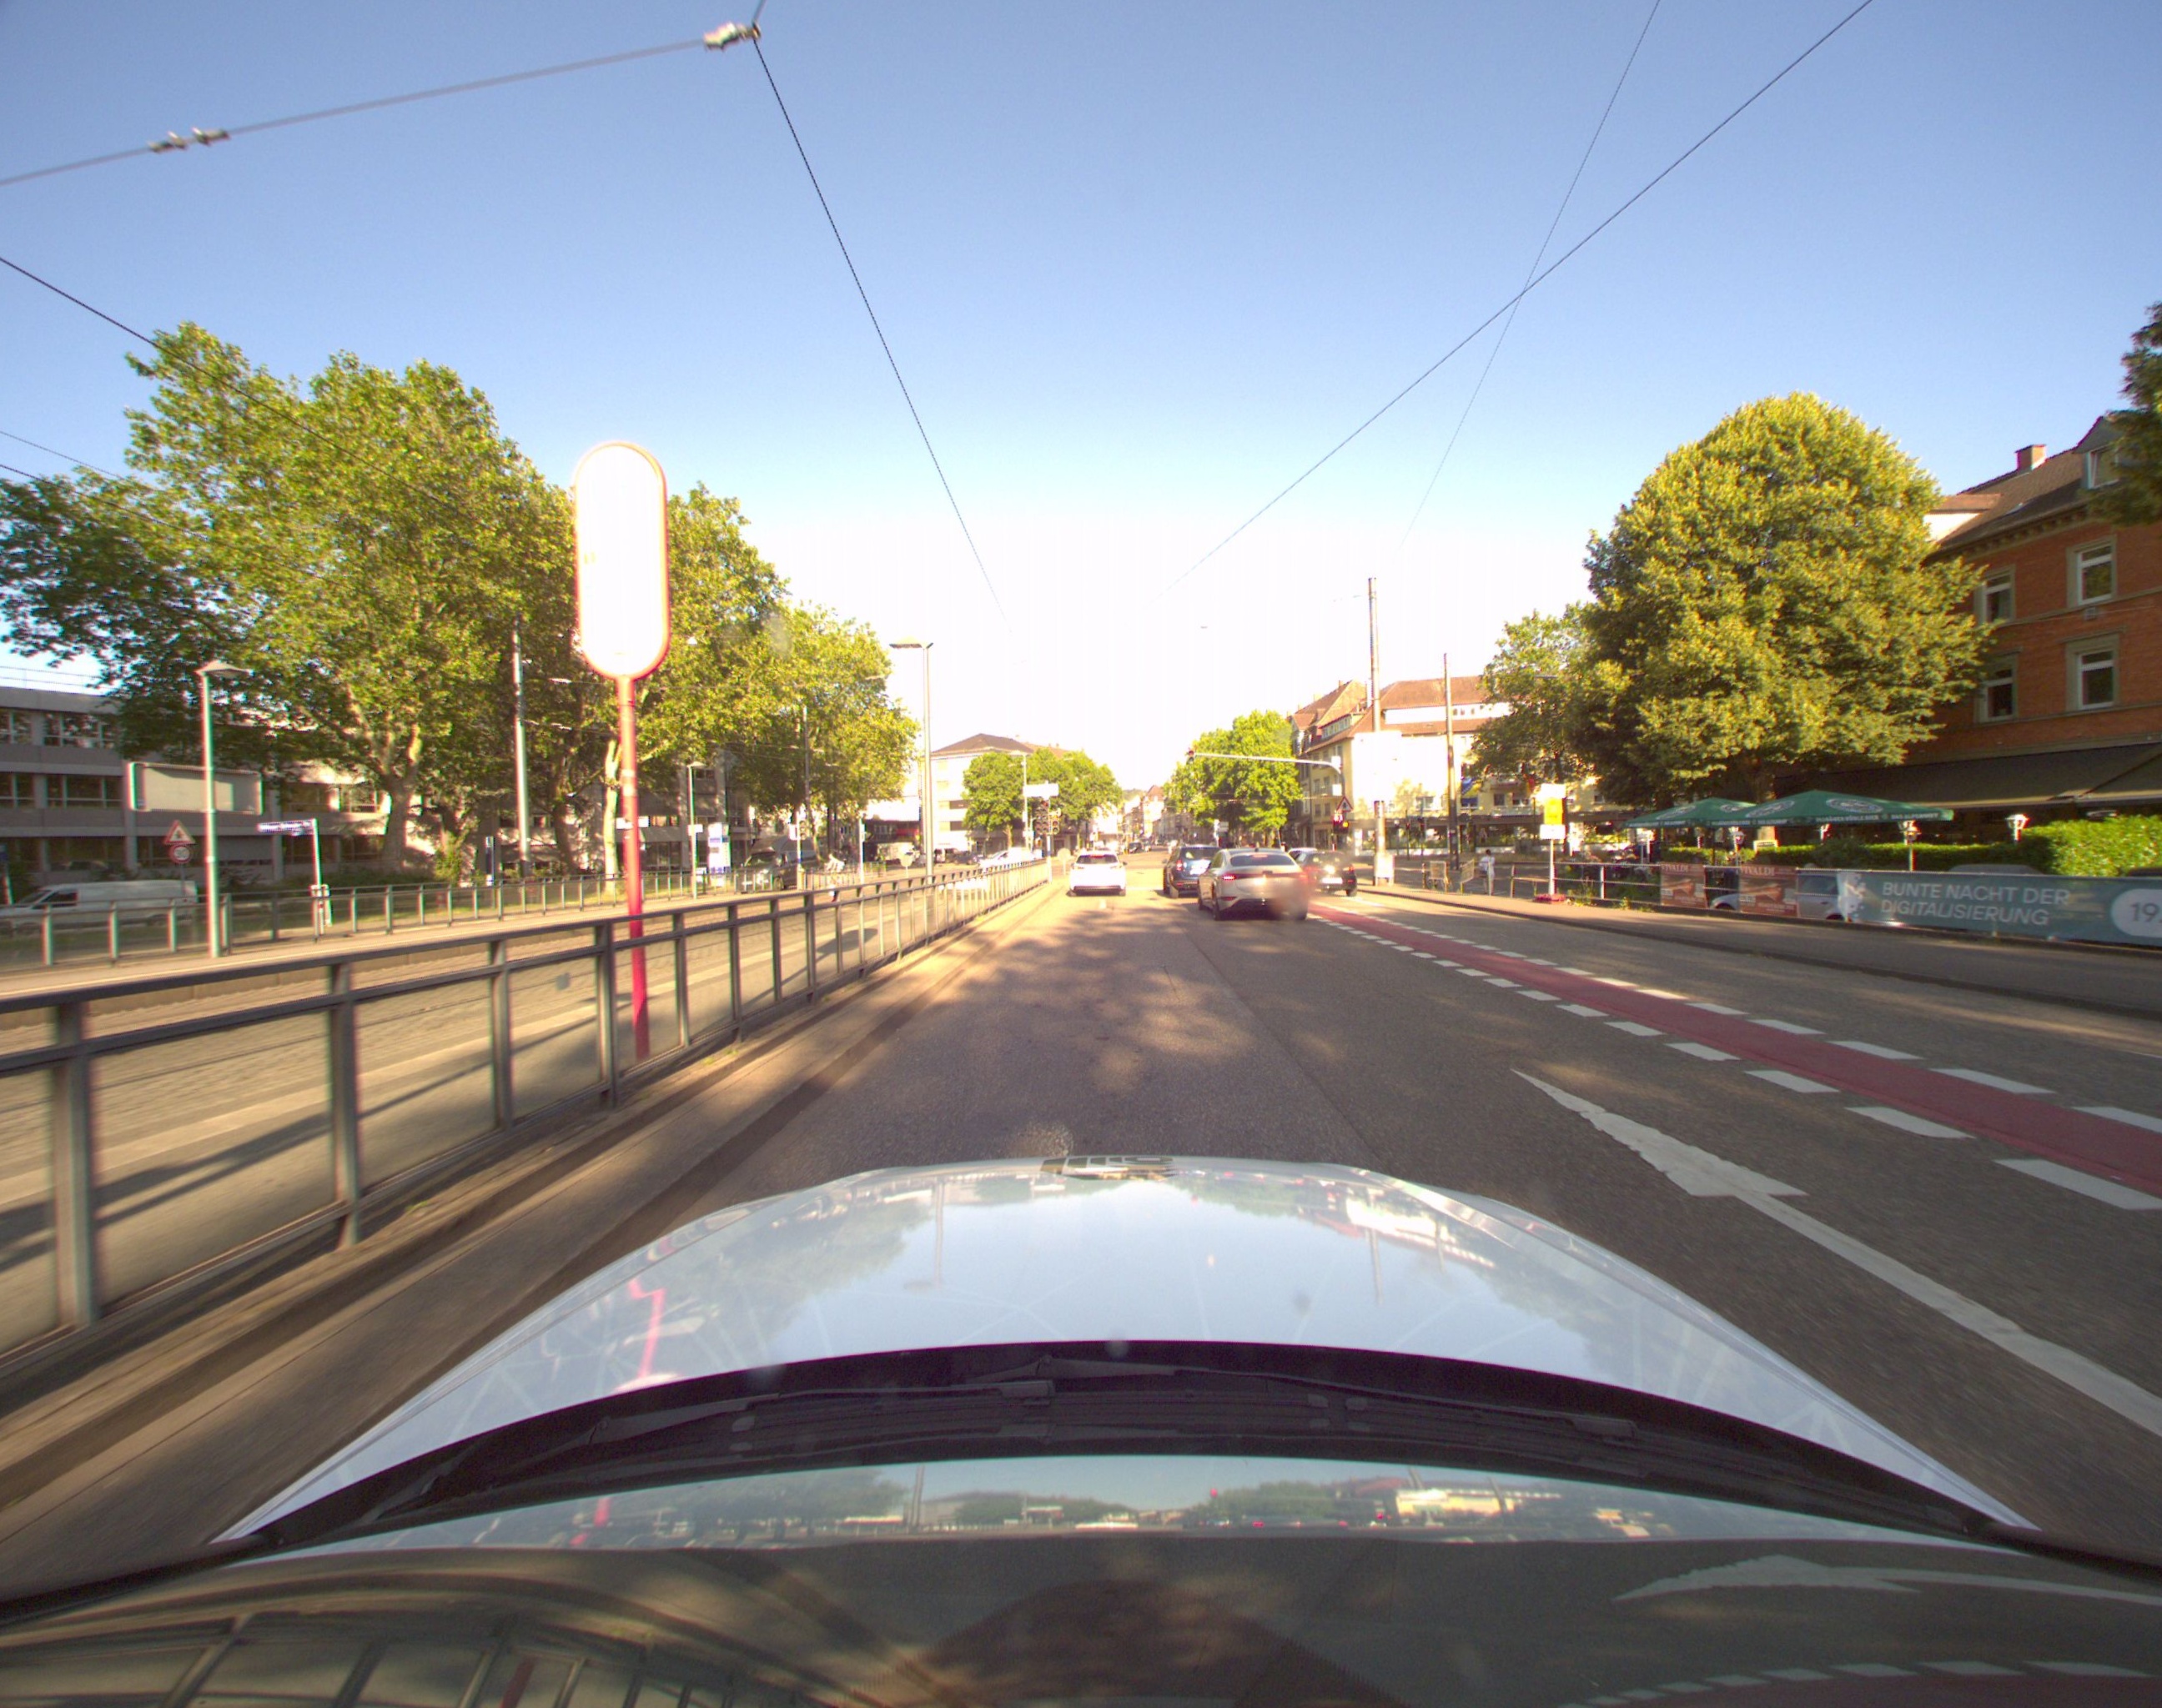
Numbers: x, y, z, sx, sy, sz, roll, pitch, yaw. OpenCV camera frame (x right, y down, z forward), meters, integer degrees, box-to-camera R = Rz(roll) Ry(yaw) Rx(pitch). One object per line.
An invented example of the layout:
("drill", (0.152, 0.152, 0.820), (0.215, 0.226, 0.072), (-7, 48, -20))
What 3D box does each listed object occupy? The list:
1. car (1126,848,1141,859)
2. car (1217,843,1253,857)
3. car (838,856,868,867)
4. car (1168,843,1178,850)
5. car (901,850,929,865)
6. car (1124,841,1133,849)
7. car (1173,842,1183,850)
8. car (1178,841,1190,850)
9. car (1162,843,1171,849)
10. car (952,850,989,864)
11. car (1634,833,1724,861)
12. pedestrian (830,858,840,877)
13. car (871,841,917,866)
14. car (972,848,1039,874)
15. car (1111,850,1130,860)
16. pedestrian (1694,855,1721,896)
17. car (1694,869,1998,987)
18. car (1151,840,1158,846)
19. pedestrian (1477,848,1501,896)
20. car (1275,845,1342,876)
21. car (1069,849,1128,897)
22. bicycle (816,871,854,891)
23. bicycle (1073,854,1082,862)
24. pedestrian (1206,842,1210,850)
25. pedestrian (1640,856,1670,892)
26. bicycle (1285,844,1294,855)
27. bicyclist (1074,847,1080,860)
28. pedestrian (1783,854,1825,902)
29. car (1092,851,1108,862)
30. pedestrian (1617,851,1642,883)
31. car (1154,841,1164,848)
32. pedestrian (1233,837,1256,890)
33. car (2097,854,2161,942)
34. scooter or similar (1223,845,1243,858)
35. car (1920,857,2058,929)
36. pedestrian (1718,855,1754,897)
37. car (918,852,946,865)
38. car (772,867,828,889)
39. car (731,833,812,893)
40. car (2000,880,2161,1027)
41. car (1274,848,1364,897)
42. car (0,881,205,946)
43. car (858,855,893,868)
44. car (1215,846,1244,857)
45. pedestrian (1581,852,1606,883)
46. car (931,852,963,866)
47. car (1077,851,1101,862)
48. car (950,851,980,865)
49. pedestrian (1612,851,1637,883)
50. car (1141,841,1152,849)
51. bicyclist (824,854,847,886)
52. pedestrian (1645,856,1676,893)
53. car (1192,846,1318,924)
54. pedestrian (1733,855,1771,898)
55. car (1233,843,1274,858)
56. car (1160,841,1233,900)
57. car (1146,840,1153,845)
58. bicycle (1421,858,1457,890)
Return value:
("car", (8.742, -0.128, 135.435), (1.782, 1.826, 4.014), (-2, 0, 12))
("car", (18.735, -0.474, 99.397), (3.979, 1.510, 1.797), (-2, 0, -4))
("car", (-31.956, 1.024, 114.165), (1.778, 1.510, 4.024), (-2, 0, 25))
("car", (20.754, -1.764, 184.114), (1.787, 1.510, 4.002), (-2, 0, 2))
("car", (-22.236, 0.431, 109.461), (1.779, 1.955, 4.021), (-2, 0, 21))
("car", (10.119, -1.903, 172.959), (1.788, 1.510, 4.000), (-2, 0, 1))
("car", (21.224, -1.730, 177.937), (1.787, 1.510, 4.002), (-2, 0, 2))
("car", (21.699, -1.846, 171.392), (2.097, 1.776, 4.343), (-2, 0, 2))
("car", (21.325, -1.967, 203.353), (1.787, 1.522, 4.002), (-2, 0, 2))
("car", (-12.021, 0.317, 88.662), (3.949, 1.510, 1.811), (-1, 0, 42))
("car", (35.222, -0.392, 48.074), (3.951, 1.510, 1.810), (-1, 0, 23))
("pedestrian", (-22.566, 1.224, 74.610), (0.645, 1.661, 0.651), (-2, 0, 4))
("car", (-25.336, -0.077, 110.536), (2.473, 3.165, 6.573), (-2, 0, 25))
("car", (-5.127, 0.447, 55.407), (4.163, 1.692, 1.808), (-1, 0, -22))
("car", (6.215, 0.167, 128.058), (1.779, 1.510, 4.021), (-2, 0, 21))
("pedestrian", (20.978, 0.717, 27.280), (0.642, 1.338, 0.636), (1, 0, 32))
("car", (14.418, 1.275, 15.777), (1.788, 1.898, 4.358), (-1, -1, 0))
("car", (21.080, -3.109, 233.870), (1.787, 1.510, 4.002), (-2, 0, 2))
("pedestrian", (13.620, 0.580, 27.194), (0.642, 1.563, 0.635), (1, 0, 20))
("car", (12.481, 0.308, 44.532), (4.024, 1.510, 1.778), (-2, 2, -45))
("car", (0.588, 0.577, 27.346), (1.801, 1.452, 4.001), (-1, 0, 1))
("bicycle", (-11.181, 1.213, 37.077), (0.520, 0.816, 1.627), (-2, 0, 37))
("bicycle", (-0.517, 0.556, 109.787), (0.463, 0.956, 1.778), (-2, 0, 25))
("pedestrian", (25.373, -1.659, 162.608), (0.643, 1.651, 0.652), (-1, -1, 12))
("pedestrian", (21.673, 0.738, 30.755), (0.645, 1.338, 0.632), (1, 0, 2))
("bicycle", (21.241, -0.489, 82.881), (0.606, 1.107, 1.803), (-1, 0, 6))
("bicyclist", (-0.531, -0.038, 109.789), (0.463, 1.745, 0.721), (-2, 0, 25))
("pedestrian", (20.802, 0.682, 23.442), (0.645, 1.338, 0.632), (1, 0, 2))
("car", (2.771, 0.332, 120.077), (1.784, 1.510, 4.010), (-2, 0, 9))
("pedestrian", (23.157, 0.550, 34.401), (0.645, 1.338, 0.632), (1, 0, 2))
("car", (21.853, -2.662, 228.380), (2.318, 2.013, 4.978), (-2, 0, 2))
("pedestrian", (5.915, 0.333, 29.498), (0.654, 1.871, 0.678), (-2, 0, 1))
("car", (22.070, 0.833, 16.484), (4.019, 1.480, 1.780), (-3, 1, -37))
("scooter or similar", (15.566, -0.220, 83.357), (1.926, 1.280, 0.557), (-1, 0, 43))
("car", (21.790, 0.865, 19.511), (4.018, 1.348, 1.760), (-3, 1, -35))
("pedestrian", (21.228, 0.704, 26.399), (0.645, 1.338, 0.632), (1, 0, 2))
("car", (-19.771, 0.599, 108.499), (1.779, 1.510, 4.031), (-2, 0, 21))
("car", (-15.234, 1.283, 44.298), (2.061, 1.162, 2.911), (-1, -1, -1))
("car", (-15.211, 0.455, 40.320), (2.061, 2.743, 5.029), (-1, -1, 0))
("car", (14.540, 1.272, 9.916), (1.791, 1.803, 4.204), (0, -1, -5))
("car", (7.407, 0.530, 25.716), (1.793, 1.439, 4.047), (0, 0, 2))
("car", (-42.614, 2.462, 35.396), (2.131, 2.335, 5.757), (-1, 0, 25))
("car", (-25.502, 0.944, 101.123), (3.952, 1.510, 1.810), (-1, 0, 22))
("car", (20.665, -0.363, 113.571), (4.021, 1.510, 1.779), (-2, 0, -40))
("pedestrian", (22.269, 0.568, 35.390), (0.645, 1.338, 0.632), (1, 0, 2))
("car", (-17.483, 0.614, 106.425), (1.777, 1.649, 4.035), (-2, 0, 31))
("car", (1.168, 0.378, 114.121), (1.707, 1.510, 3.899), (-2, 0, 27))
("car", (-15.063, 0.540, 105.657), (1.904, 1.649, 4.203), (-2, 0, 22))
("pedestrian", (23.569, 0.554, 35.306), (0.645, 1.338, 0.632), (1, 0, 2))
("car", (12.075, -1.651, 149.980), (1.788, 1.510, 4.000), (-2, 0, 1))
("bicyclist", (-11.192, 0.735, 37.077), (0.520, 1.414, 0.808), (-2, 0, 37))
("pedestrian", (21.170, 0.734, 29.753), (0.645, 1.338, 0.632), (1, 0, 2))
("car", (3.714, 0.595, 18.237), (1.922, 1.472, 4.857), (-1, 0, 2))
("pedestrian", (21.057, 0.698, 25.571), (0.645, 1.338, 0.632), (1, 0, 2))
("car", (18.871, -0.429, 89.025), (3.983, 1.510, 1.796), (-2, 0, -7))
("car", (3.516, 0.459, 25.419), (1.794, 1.638, 4.046), (-1, 0, 1))
("car", (21.248, -3.494, 253.711), (1.787, 1.510, 4.002), (-2, 0, 2))
("bicycle", (12.400, 0.689, 28.229), (0.496, 1.075, 1.801), (-1, -1, 2))
